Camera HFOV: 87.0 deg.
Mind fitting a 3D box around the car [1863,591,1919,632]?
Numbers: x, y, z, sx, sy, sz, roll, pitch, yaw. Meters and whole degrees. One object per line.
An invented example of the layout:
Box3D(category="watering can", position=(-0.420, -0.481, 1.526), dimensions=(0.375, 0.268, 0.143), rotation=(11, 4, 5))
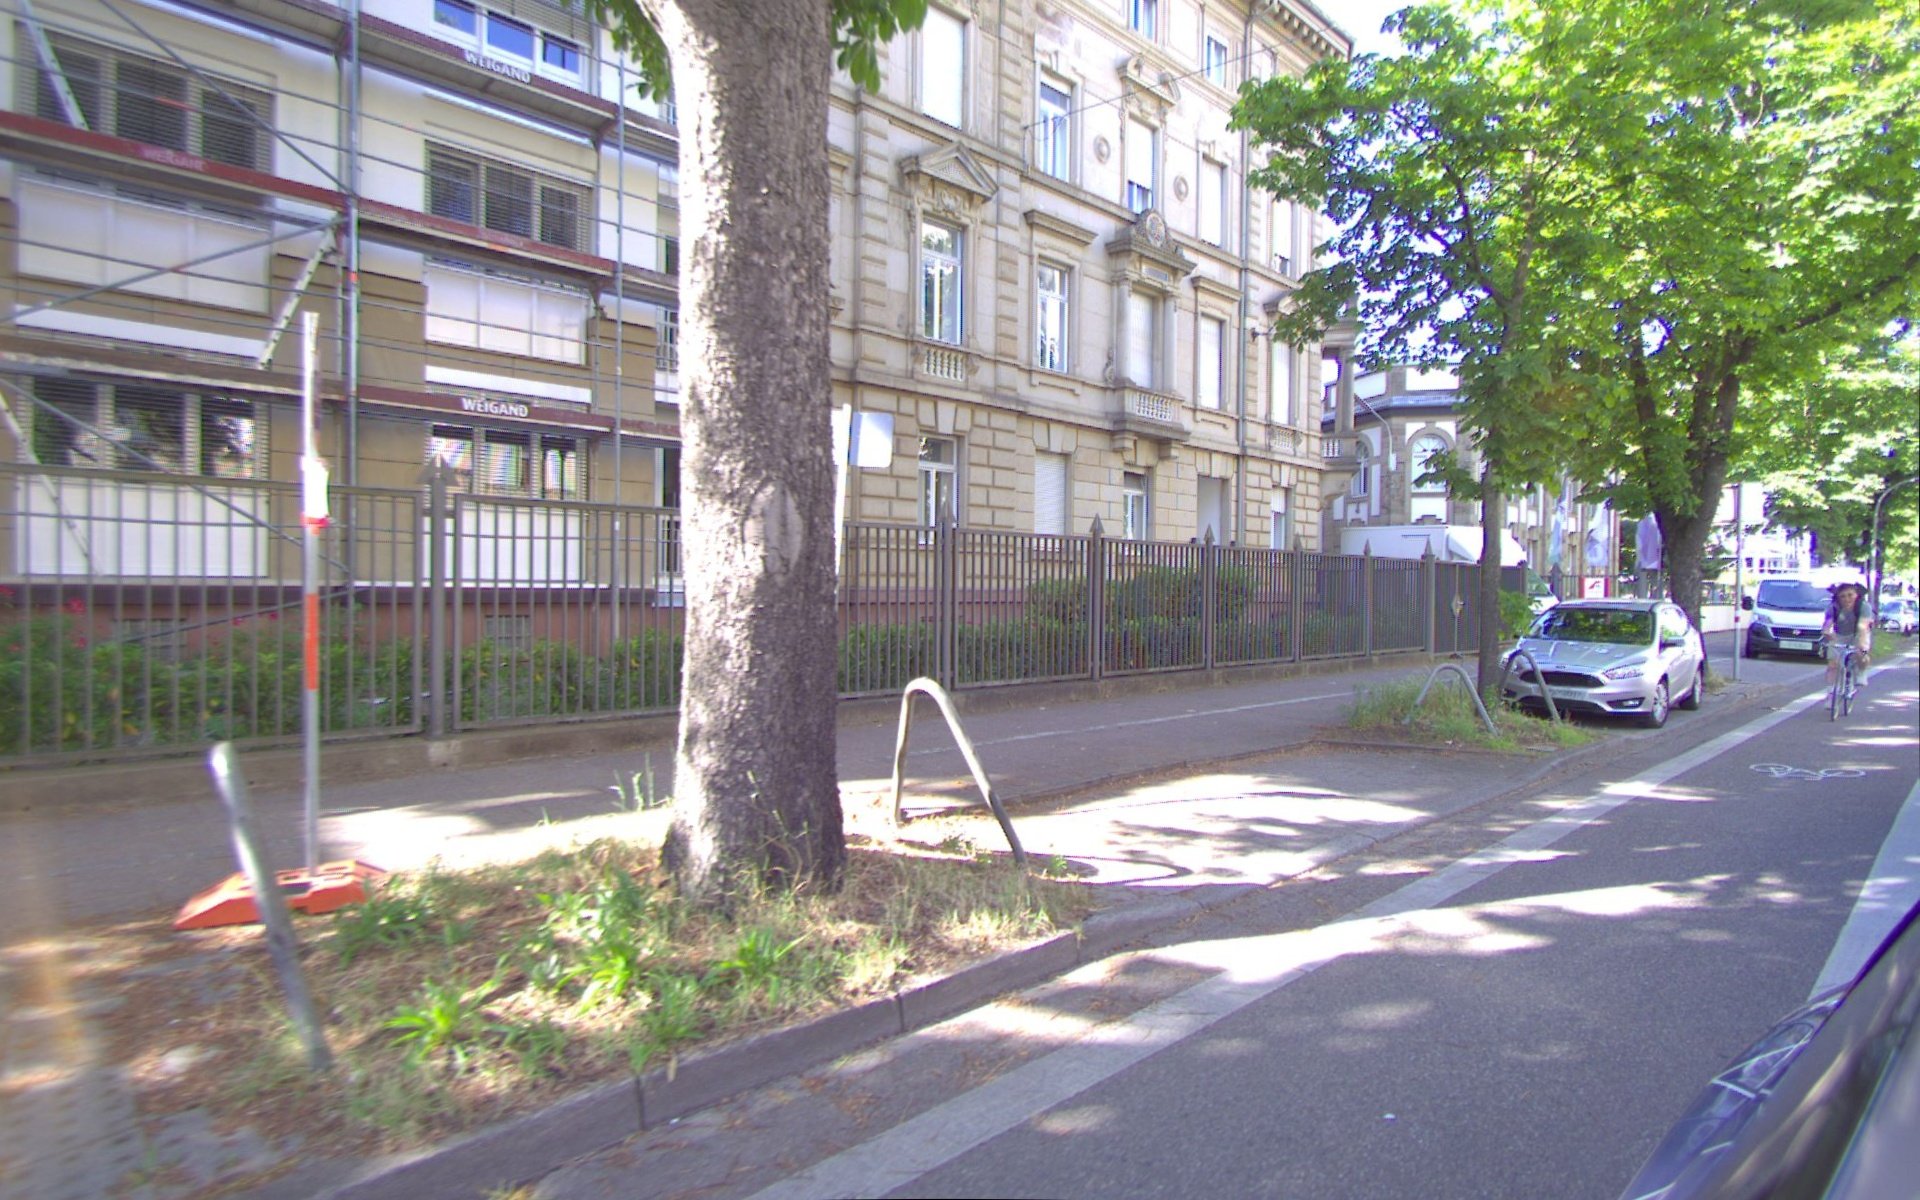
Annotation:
Box3D(category="car", position=(38.213, 0.429, 41.250), dimensions=(4.036, 1.569, 1.863), rotation=(-1, 2, -44))

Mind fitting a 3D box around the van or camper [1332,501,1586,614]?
Box3D(category="van or camper", position=(13.152, -1.051, 27.430), dimensions=(2.078, 2.660, 6.752), rotation=(-1, 1, -17))

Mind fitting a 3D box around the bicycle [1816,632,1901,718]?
Box3D(category="bicycle", position=(11.391, 0.911, 12.809), dimensions=(2.021, 0.933, 0.534), rotation=(-1, 1, -41))

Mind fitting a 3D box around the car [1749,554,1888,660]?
Box3D(category="car", position=(21.895, 0.083, 25.706), dimensions=(5.711, 2.371, 2.128), rotation=(-1, 3, -45))

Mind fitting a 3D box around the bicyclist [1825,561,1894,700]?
Box3D(category="bicyclist", position=(11.345, 0.362, 12.767), dimensions=(0.863, 1.691, 0.532), rotation=(-1, 0, -40))

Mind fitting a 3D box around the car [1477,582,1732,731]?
Box3D(category="car", position=(8.574, 0.583, 13.297), dimensions=(4.295, 1.562, 1.874), rotation=(-1, 3, -45))
